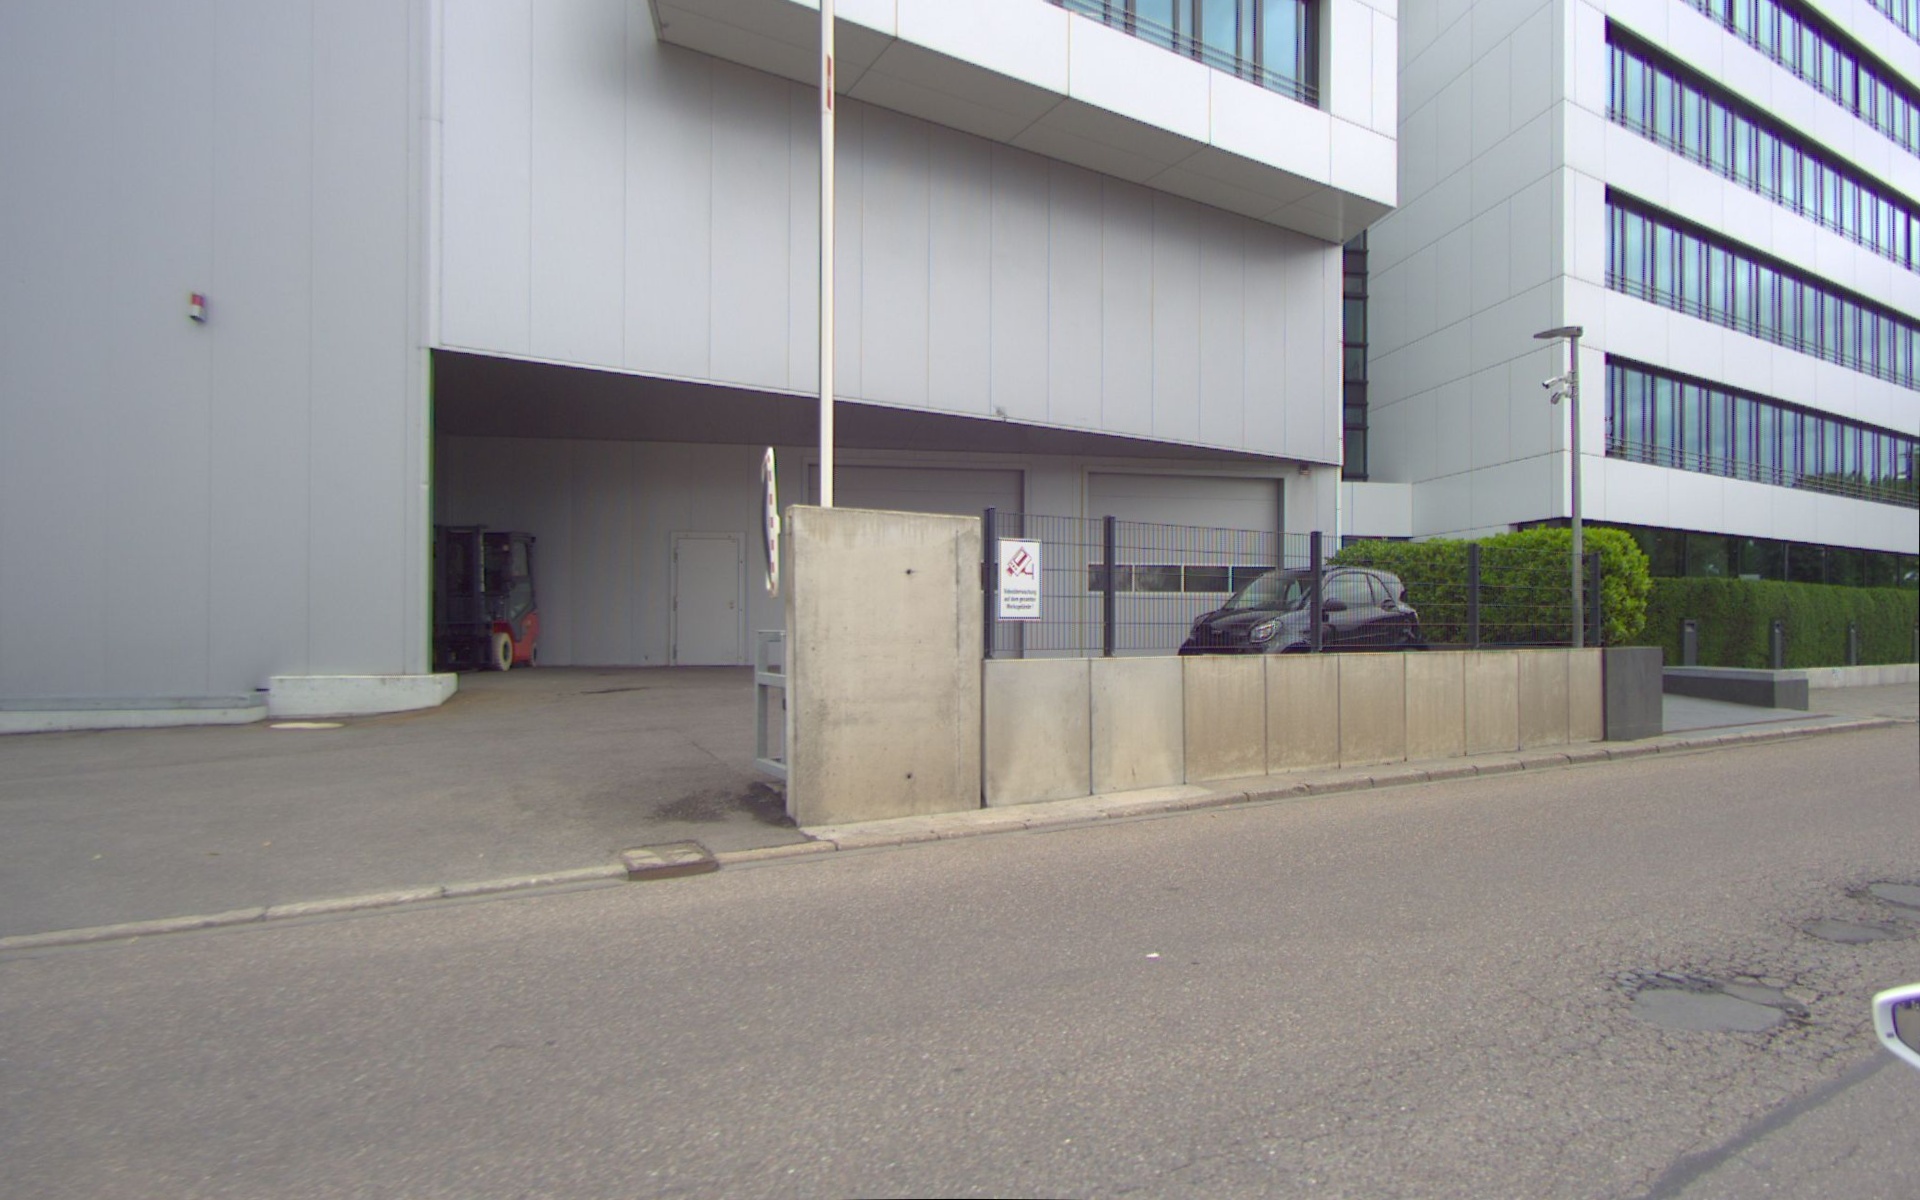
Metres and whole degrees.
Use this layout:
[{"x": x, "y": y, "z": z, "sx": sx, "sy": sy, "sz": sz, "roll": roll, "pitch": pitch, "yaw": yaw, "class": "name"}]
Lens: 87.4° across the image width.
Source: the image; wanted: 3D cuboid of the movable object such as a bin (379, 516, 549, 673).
[{"x": -7.590, "y": -0.040, "z": 15.570, "sx": 1.720, "sy": 2.252, "sz": 2.152, "roll": 0, "pitch": -2, "yaw": -7, "class": "movable object such as a bin"}]

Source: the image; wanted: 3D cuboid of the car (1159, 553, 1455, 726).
[{"x": 4.109, "y": 0.424, "z": 11.883, "sx": 3.140, "sy": 1.785, "sz": 1.643, "roll": 1, "pitch": 0, "yaw": -29, "class": "car"}]
